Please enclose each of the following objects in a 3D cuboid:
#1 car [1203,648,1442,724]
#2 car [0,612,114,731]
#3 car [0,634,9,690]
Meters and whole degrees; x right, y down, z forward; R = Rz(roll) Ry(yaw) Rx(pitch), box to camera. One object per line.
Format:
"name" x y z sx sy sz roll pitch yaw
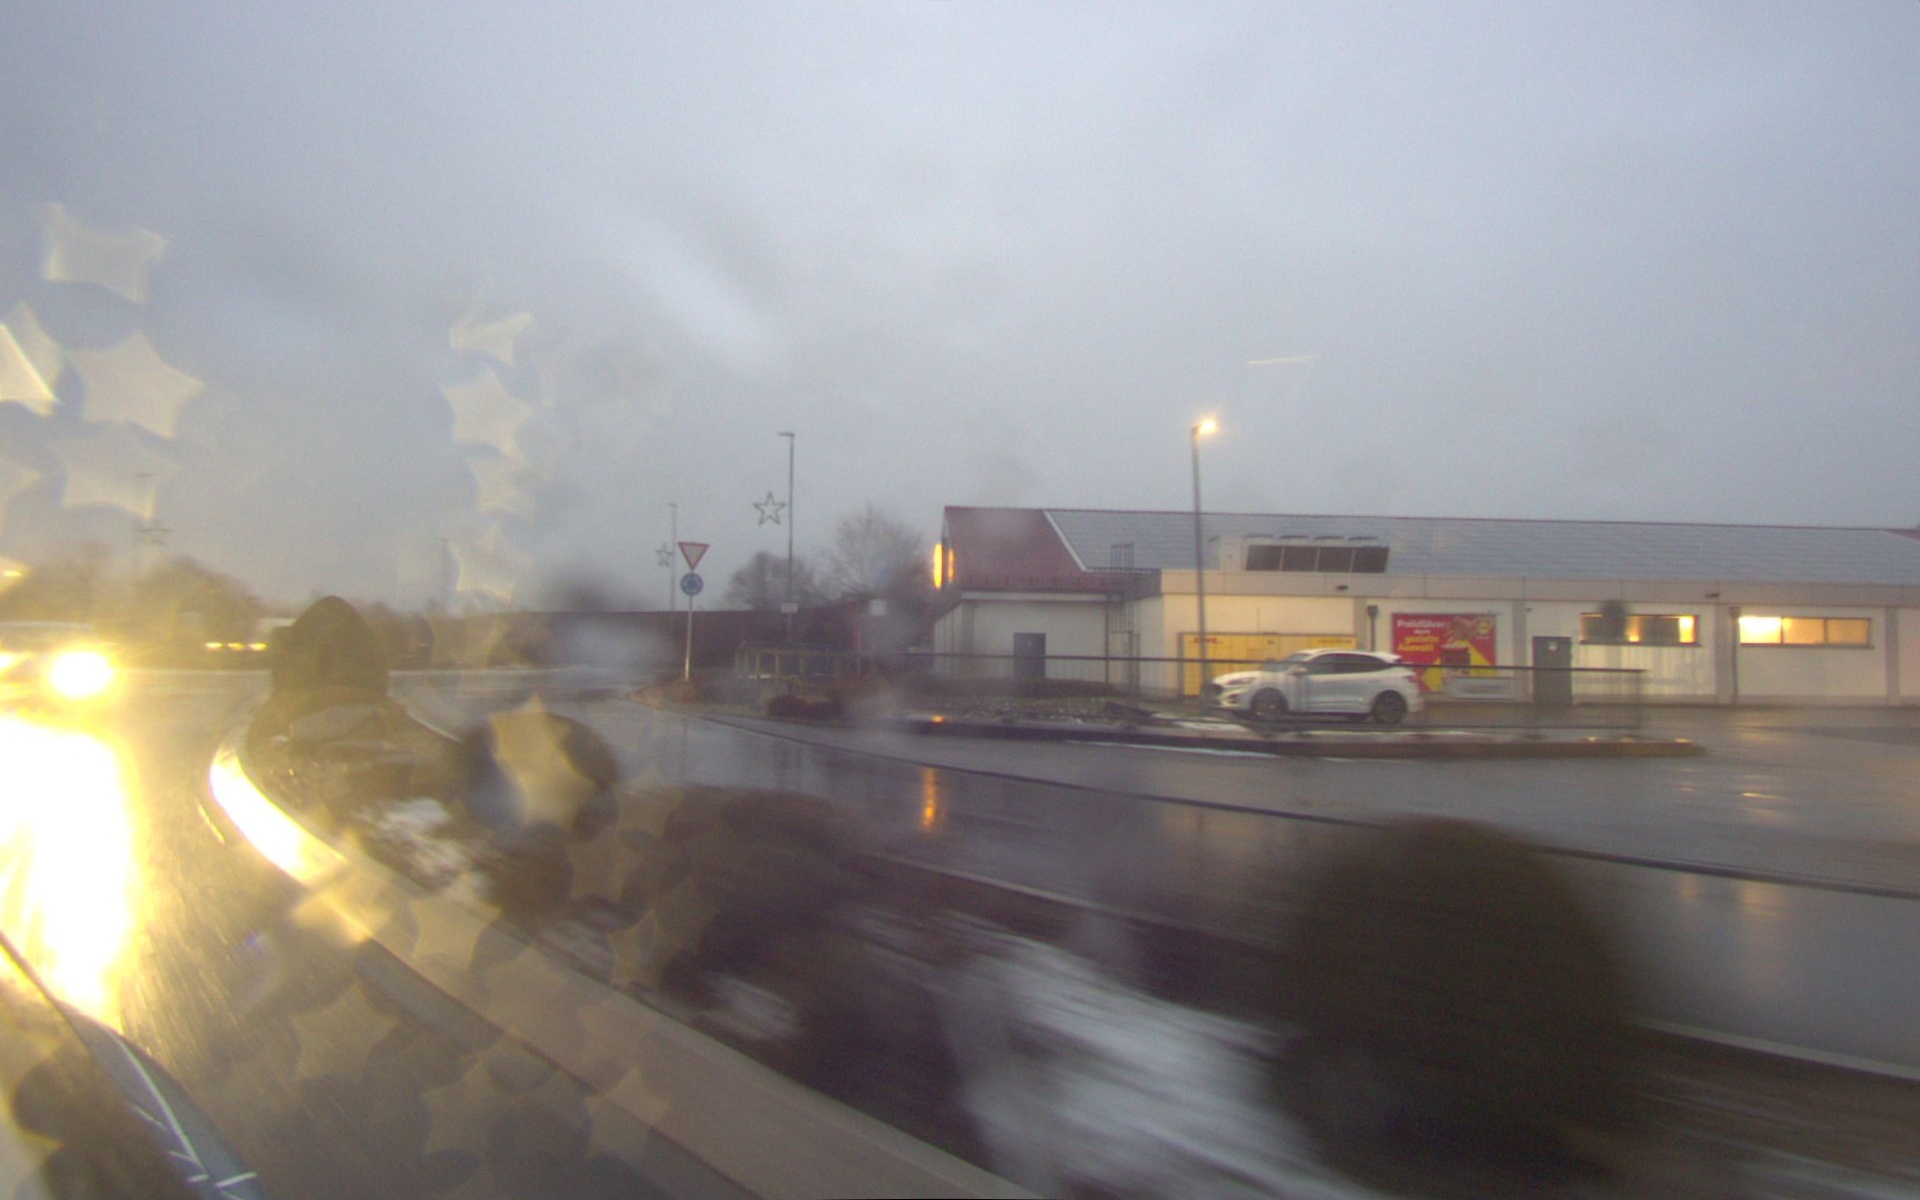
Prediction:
"car" 8.011 1.890 22.644 4.716 1.548 1.689 1 -3 -2
"car" -14.635 1.077 15.967 1.748 1.655 4.430 2 -4 -38
"car" -27.259 1.599 25.926 3.945 1.484 1.999 0 -2 1
